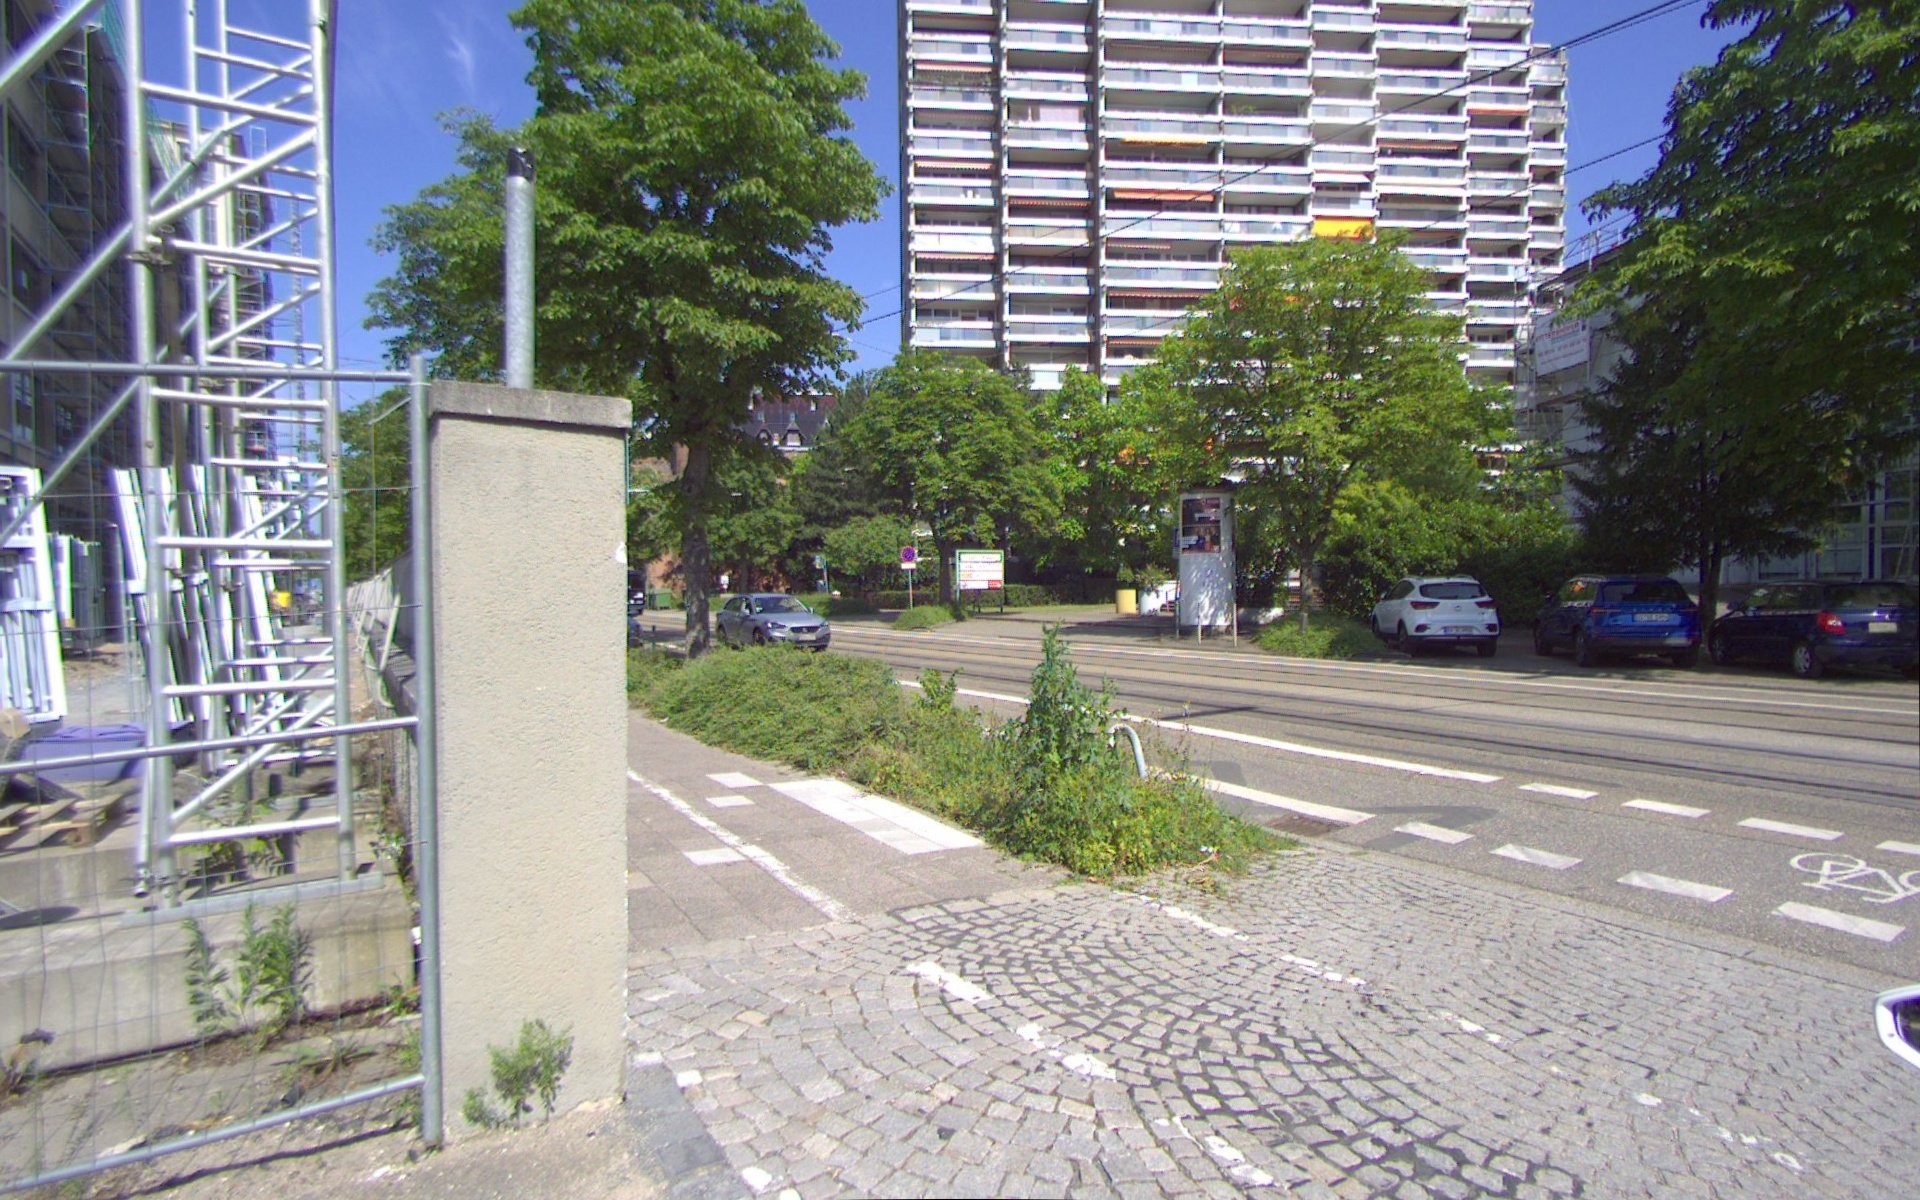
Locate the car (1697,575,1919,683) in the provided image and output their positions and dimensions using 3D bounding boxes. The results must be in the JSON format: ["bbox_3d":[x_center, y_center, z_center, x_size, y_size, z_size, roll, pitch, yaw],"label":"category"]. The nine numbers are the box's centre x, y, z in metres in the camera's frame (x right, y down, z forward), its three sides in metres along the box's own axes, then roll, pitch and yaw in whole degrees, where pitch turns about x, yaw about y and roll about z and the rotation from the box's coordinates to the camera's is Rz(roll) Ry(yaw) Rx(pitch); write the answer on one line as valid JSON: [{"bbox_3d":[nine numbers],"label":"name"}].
[{"bbox_3d":[13.678,0.390,16.240,1.544,1.551,3.460,0,1,12],"label":"car"}]

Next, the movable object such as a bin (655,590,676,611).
[{"bbox_3d":[-20.853,0.029,71.037,1.249,1.473,1.072,0,1,-27],"label":"movable object such as a bin"}]

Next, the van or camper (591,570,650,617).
[{"bbox_3d":[-20.152,-0.386,59.381,2.028,2.655,5.810,-1,1,-32],"label":"van or camper"}]

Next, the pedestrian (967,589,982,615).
[{"bbox_3d":[0.648,0.083,44.534,0.525,1.170,0.700,-1,1,-10],"label":"pedestrian"}]

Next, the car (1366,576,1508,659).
[{"bbox_3d":[10.136,0.312,21.652,1.783,1.628,3.947,0,1,10],"label":"car"}]

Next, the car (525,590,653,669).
[{"bbox_3d":[-8.123,0.564,21.778,1.801,1.514,4.071,-1,1,-32],"label":"car"}]

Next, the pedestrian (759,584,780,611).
[{"bbox_3d":[-12.764,-0.177,67.293,1.048,1.822,1.254,1,1,-30],"label":"pedestrian"}]

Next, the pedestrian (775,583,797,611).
[{"bbox_3d":[-11.492,-0.193,66.402,1.047,1.822,1.255,1,1,-28],"label":"pedestrian"}]

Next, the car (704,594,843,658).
[{"bbox_3d":[-4.811,0.580,25.425,1.872,1.427,4.552,-2,2,-33],"label":"car"}]

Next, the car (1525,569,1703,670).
[{"bbox_3d":[12.079,0.289,18.844,1.745,1.644,3.945,-1,2,17],"label":"car"}]

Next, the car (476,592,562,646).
[{"bbox_3d":[-13.233,0.513,30.039,1.801,1.473,3.965,-1,1,-32],"label":"car"}]

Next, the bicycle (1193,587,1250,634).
[{"bbox_3d":[7.502,0.286,28.853,0.542,1.326,1.604,-1,1,-37],"label":"bicycle"}]
